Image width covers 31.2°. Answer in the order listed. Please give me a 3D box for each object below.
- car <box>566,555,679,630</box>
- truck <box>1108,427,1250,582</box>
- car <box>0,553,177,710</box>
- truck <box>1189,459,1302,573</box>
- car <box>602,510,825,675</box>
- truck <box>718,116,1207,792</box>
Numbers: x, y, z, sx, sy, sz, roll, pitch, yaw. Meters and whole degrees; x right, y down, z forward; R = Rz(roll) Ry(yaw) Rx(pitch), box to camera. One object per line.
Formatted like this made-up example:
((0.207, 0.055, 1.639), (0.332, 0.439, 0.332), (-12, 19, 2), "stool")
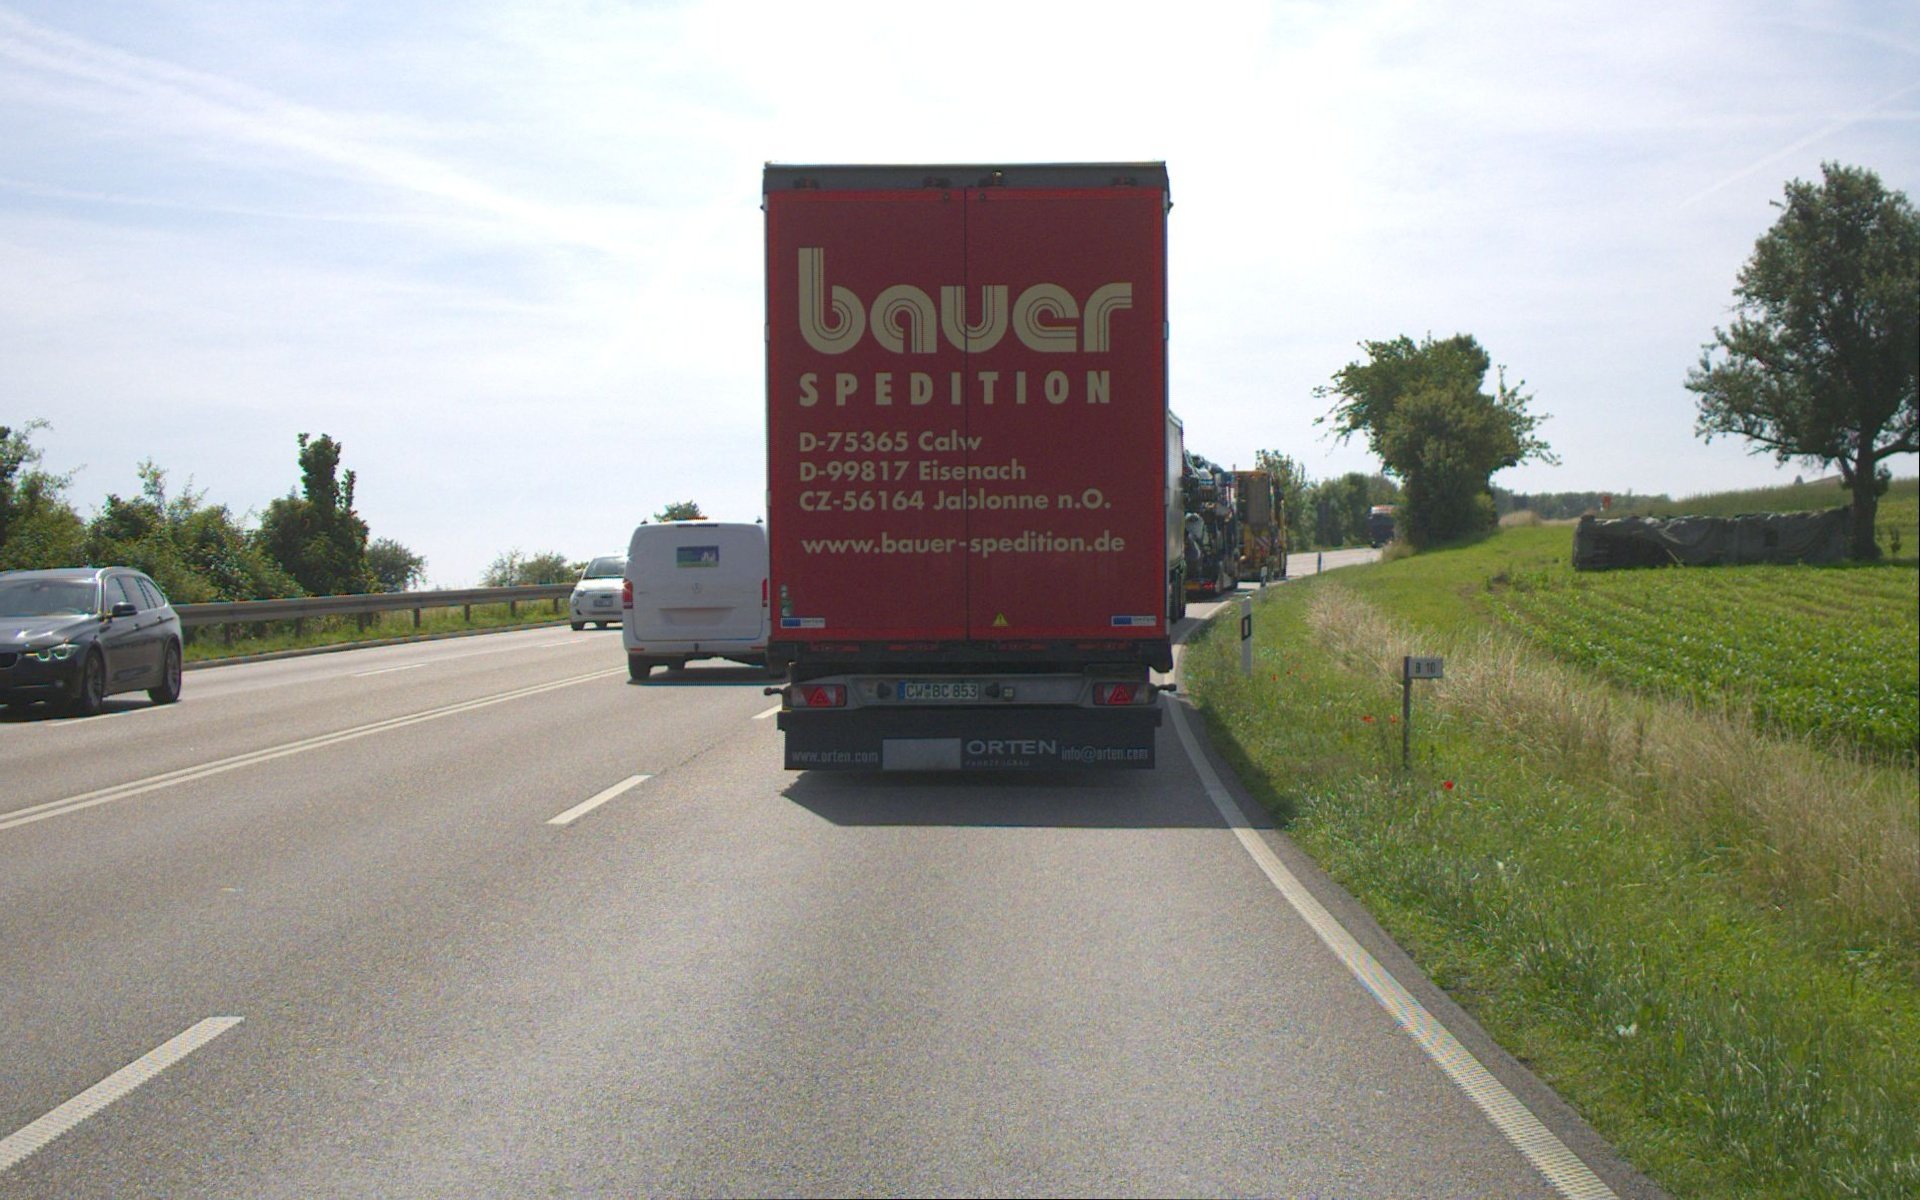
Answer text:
((-6.794, -0.168, 69.564), (1.658, 1.452, 3.734), (-1, 1, 4), "car")
((6.216, -2.571, 95.070), (3.047, 3.897, 15.612), (-1, 1, 7), "truck")
((-9.245, 0.276, 34.561), (1.718, 1.456, 4.215), (-1, 1, 1), "car")
((10.816, -3.090, 128.637), (3.048, 3.897, 18.392), (-1, 1, 8), "truck")
((-2.932, -0.123, 42.096), (1.906, 1.878, 5.431), (0, 1, 5), "car")
((0.193, -1.041, 29.580), (3.007, 4.165, 16.714), (0, 1, 1), "truck")
